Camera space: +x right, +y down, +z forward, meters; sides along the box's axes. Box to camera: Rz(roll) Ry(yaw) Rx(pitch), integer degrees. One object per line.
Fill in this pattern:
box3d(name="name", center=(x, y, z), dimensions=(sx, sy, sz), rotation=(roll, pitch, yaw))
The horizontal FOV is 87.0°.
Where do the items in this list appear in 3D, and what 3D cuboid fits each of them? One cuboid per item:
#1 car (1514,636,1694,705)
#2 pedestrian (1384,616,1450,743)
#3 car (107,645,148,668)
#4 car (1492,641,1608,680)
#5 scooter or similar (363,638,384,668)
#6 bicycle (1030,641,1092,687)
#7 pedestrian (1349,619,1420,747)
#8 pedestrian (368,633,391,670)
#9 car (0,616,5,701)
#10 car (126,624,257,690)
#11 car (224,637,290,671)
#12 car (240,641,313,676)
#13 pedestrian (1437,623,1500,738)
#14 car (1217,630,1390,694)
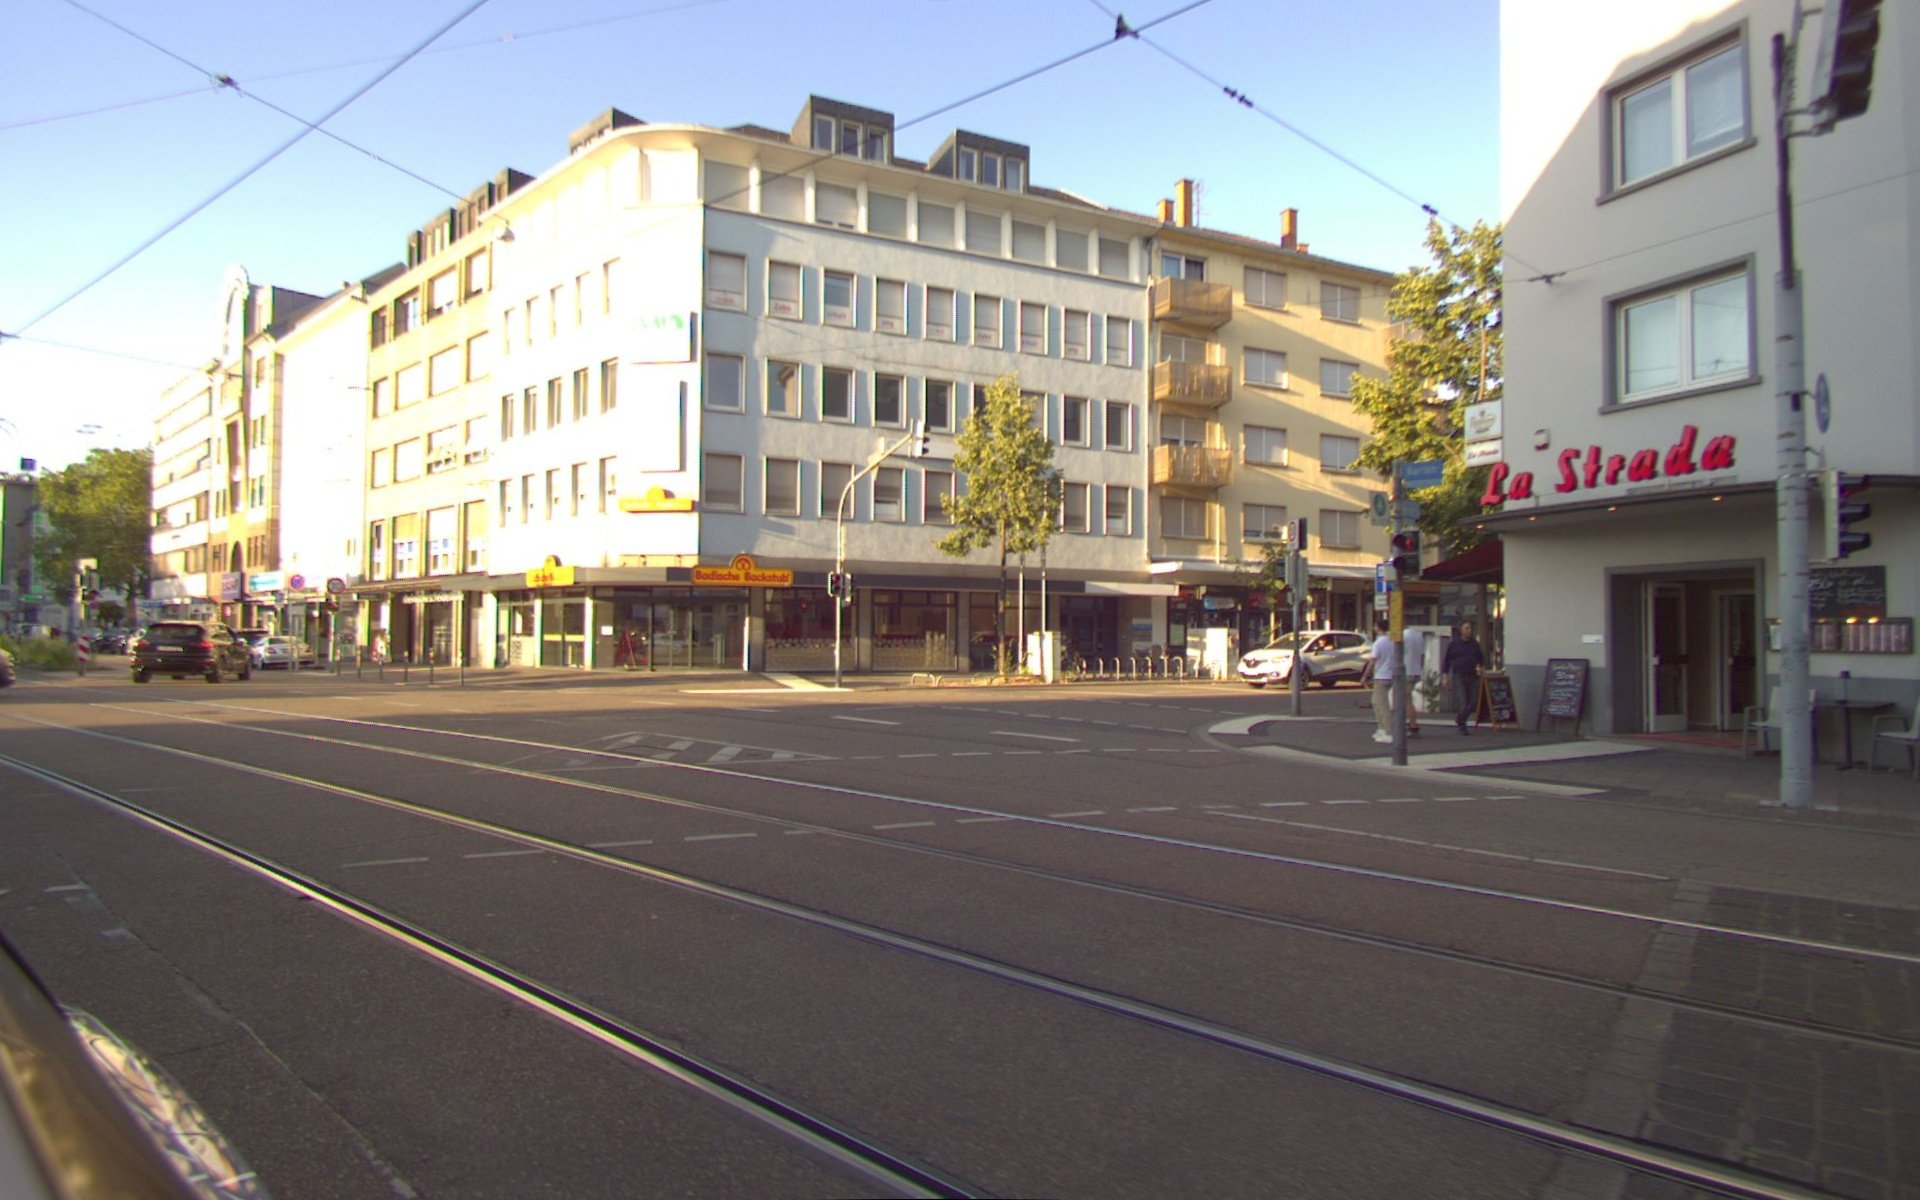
box3d(name="car", center=(14.504, 1.541, 22.798), dimensions=(3.544, 1.455, 1.651), rotation=(1, -2, -22))
box3d(name="pedestrian", center=(6.670, 1.138, 14.790), dimensions=(0.627, 1.792, 0.602), rotation=(1, -2, -28))
box3d(name="car", center=(-50.453, 3.429, 61.330), dimensions=(3.146, 1.301, 1.440), rotation=(-3, -1, 42))
box3d(name="car", center=(21.285, 2.166, 36.494), dimensions=(3.745, 1.360, 1.862), rotation=(1, -4, -28))
box3d(name="scooter or similar", center=(-25.067, 2.271, 43.248), dimensions=(1.466, 1.268, 0.390), rotation=(-3, -2, 43))
box3d(name="bicycle", center=(3.059, 1.943, 30.969), dimensions=(0.629, 1.262, 2.382), rotation=(2, -1, -29))
box3d(name="pedestrian", center=(6.030, 1.162, 14.393), dimensions=(0.627, 1.758, 0.671), rotation=(1, -2, -28))
box3d(name="pedestrian", center=(-23.931, 2.126, 41.723), dimensions=(0.621, 1.483, 0.539), rotation=(-2, 0, 26))
box3d(name="car", center=(-20.999, 1.113, 18.888), dimensions=(1.817, 1.711, 4.226), rotation=(-1, -2, 23))
box3d(name="car", center=(-21.562, 1.565, 28.617), dimensions=(1.775, 1.711, 4.584), rotation=(1, -2, -22))
box3d(name="car", center=(-30.450, 2.320, 43.782), dimensions=(3.388, 1.364, 1.614), rotation=(-3, -1, 42))
box3d(name="car", center=(-27.270, 2.314, 40.348), dimensions=(3.388, 1.263, 1.614), rotation=(-3, -1, 42))
box3d(name="pedestrian", center=(7.695, 1.191, 15.311), dimensions=(0.713, 1.689, 0.694), rotation=(-2, -3, 38))
box3d(name="car", center=(9.121, 1.653, 26.932), dimensions=(3.943, 1.568, 2.121), rotation=(2, -4, -23))
